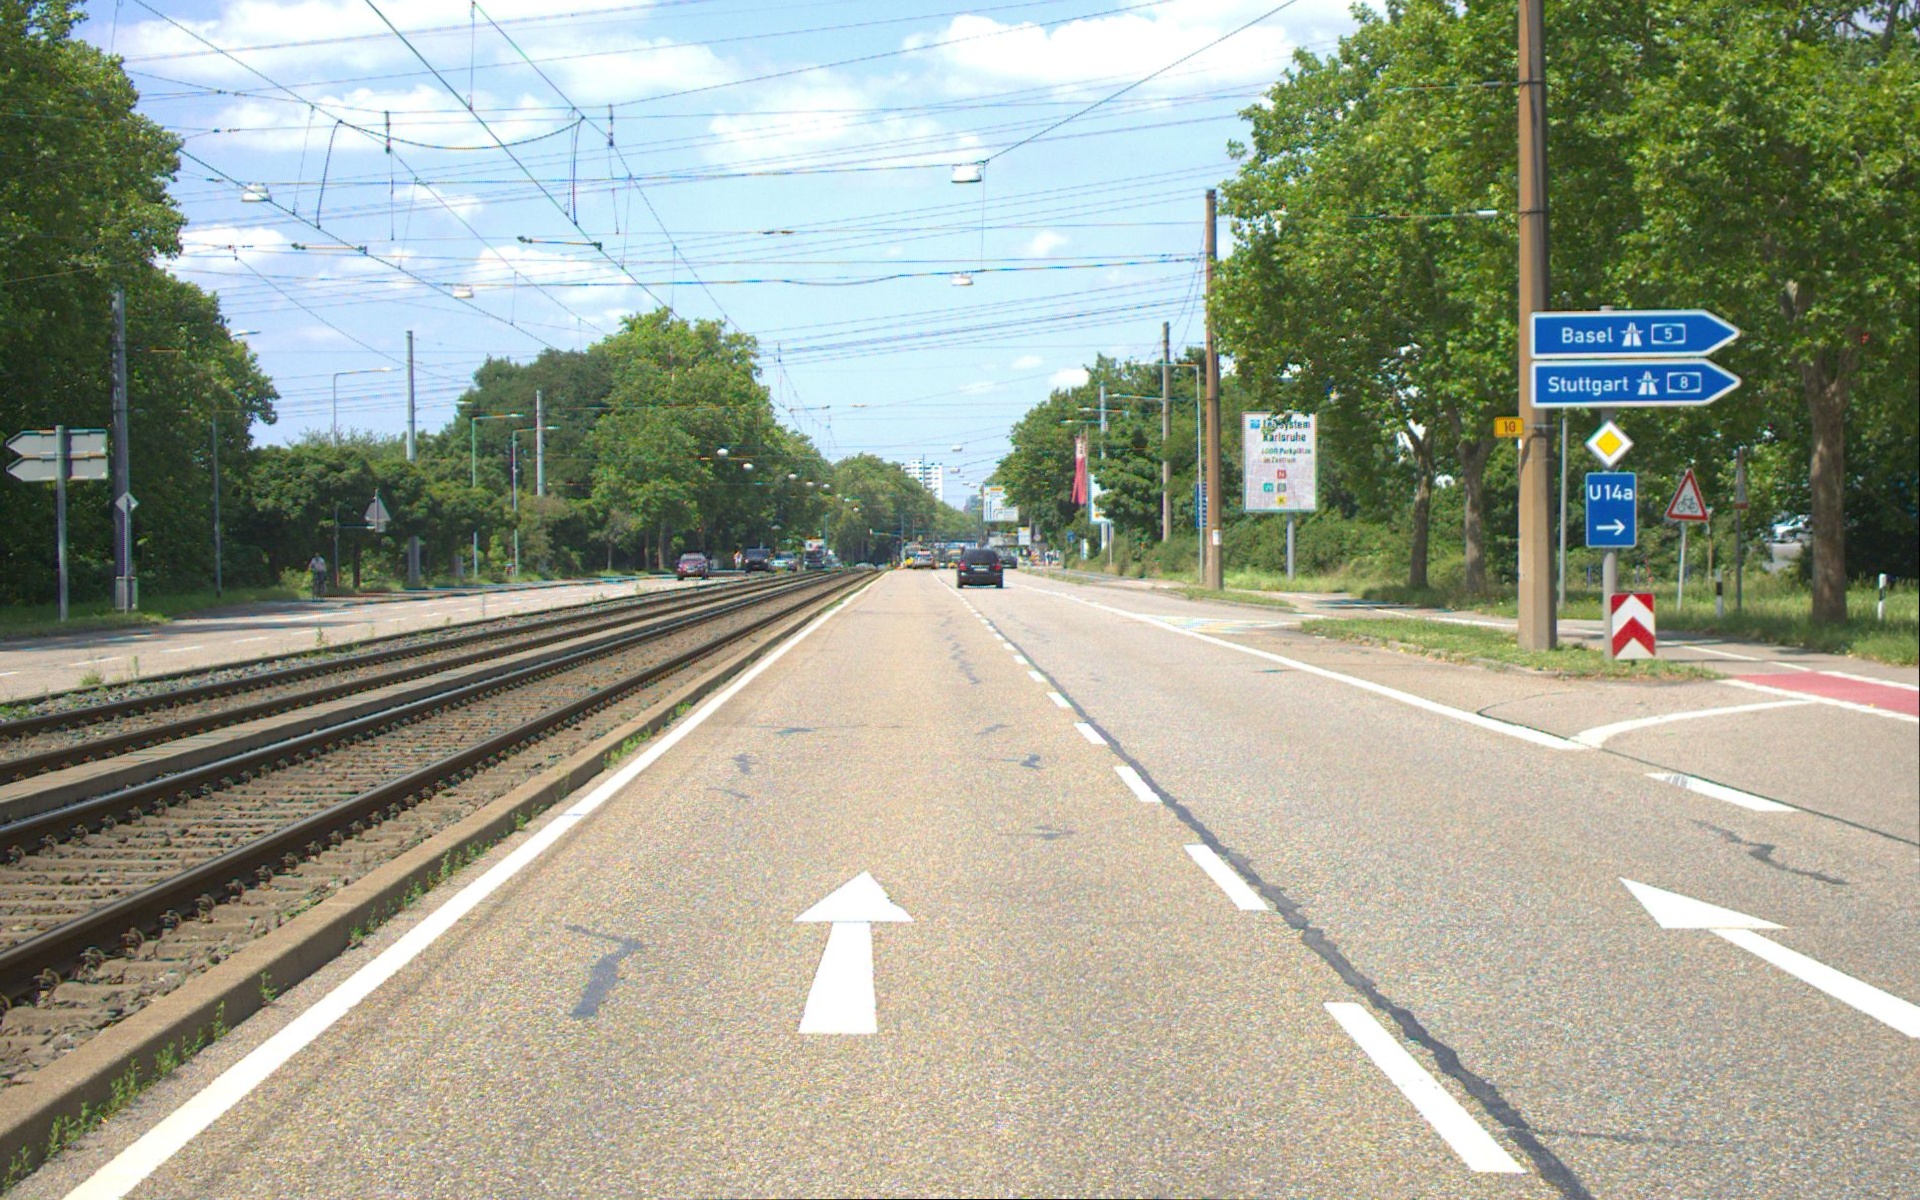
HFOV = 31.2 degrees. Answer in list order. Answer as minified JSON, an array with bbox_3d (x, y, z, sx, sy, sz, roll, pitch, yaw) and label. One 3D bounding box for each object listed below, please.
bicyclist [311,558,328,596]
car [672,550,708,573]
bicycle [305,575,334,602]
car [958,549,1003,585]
[{"bbox_3d":[-21.601,-0.775,115.943,0.454,1.268,0.398,-1,1,2],"label":"bicyclist"},{"bbox_3d":[-16.556,-2.383,210.804,1.875,1.327,3.918,-2,1,0],"label":"car"},{"bbox_3d":[-21.579,-0.386,115.857,0.515,0.854,1.931,-1,1,2],"label":"bicycle"},{"bbox_3d":[0.792,-1.287,133.095,1.586,1.338,3.273,-1,2,-2],"label":"car"}]
